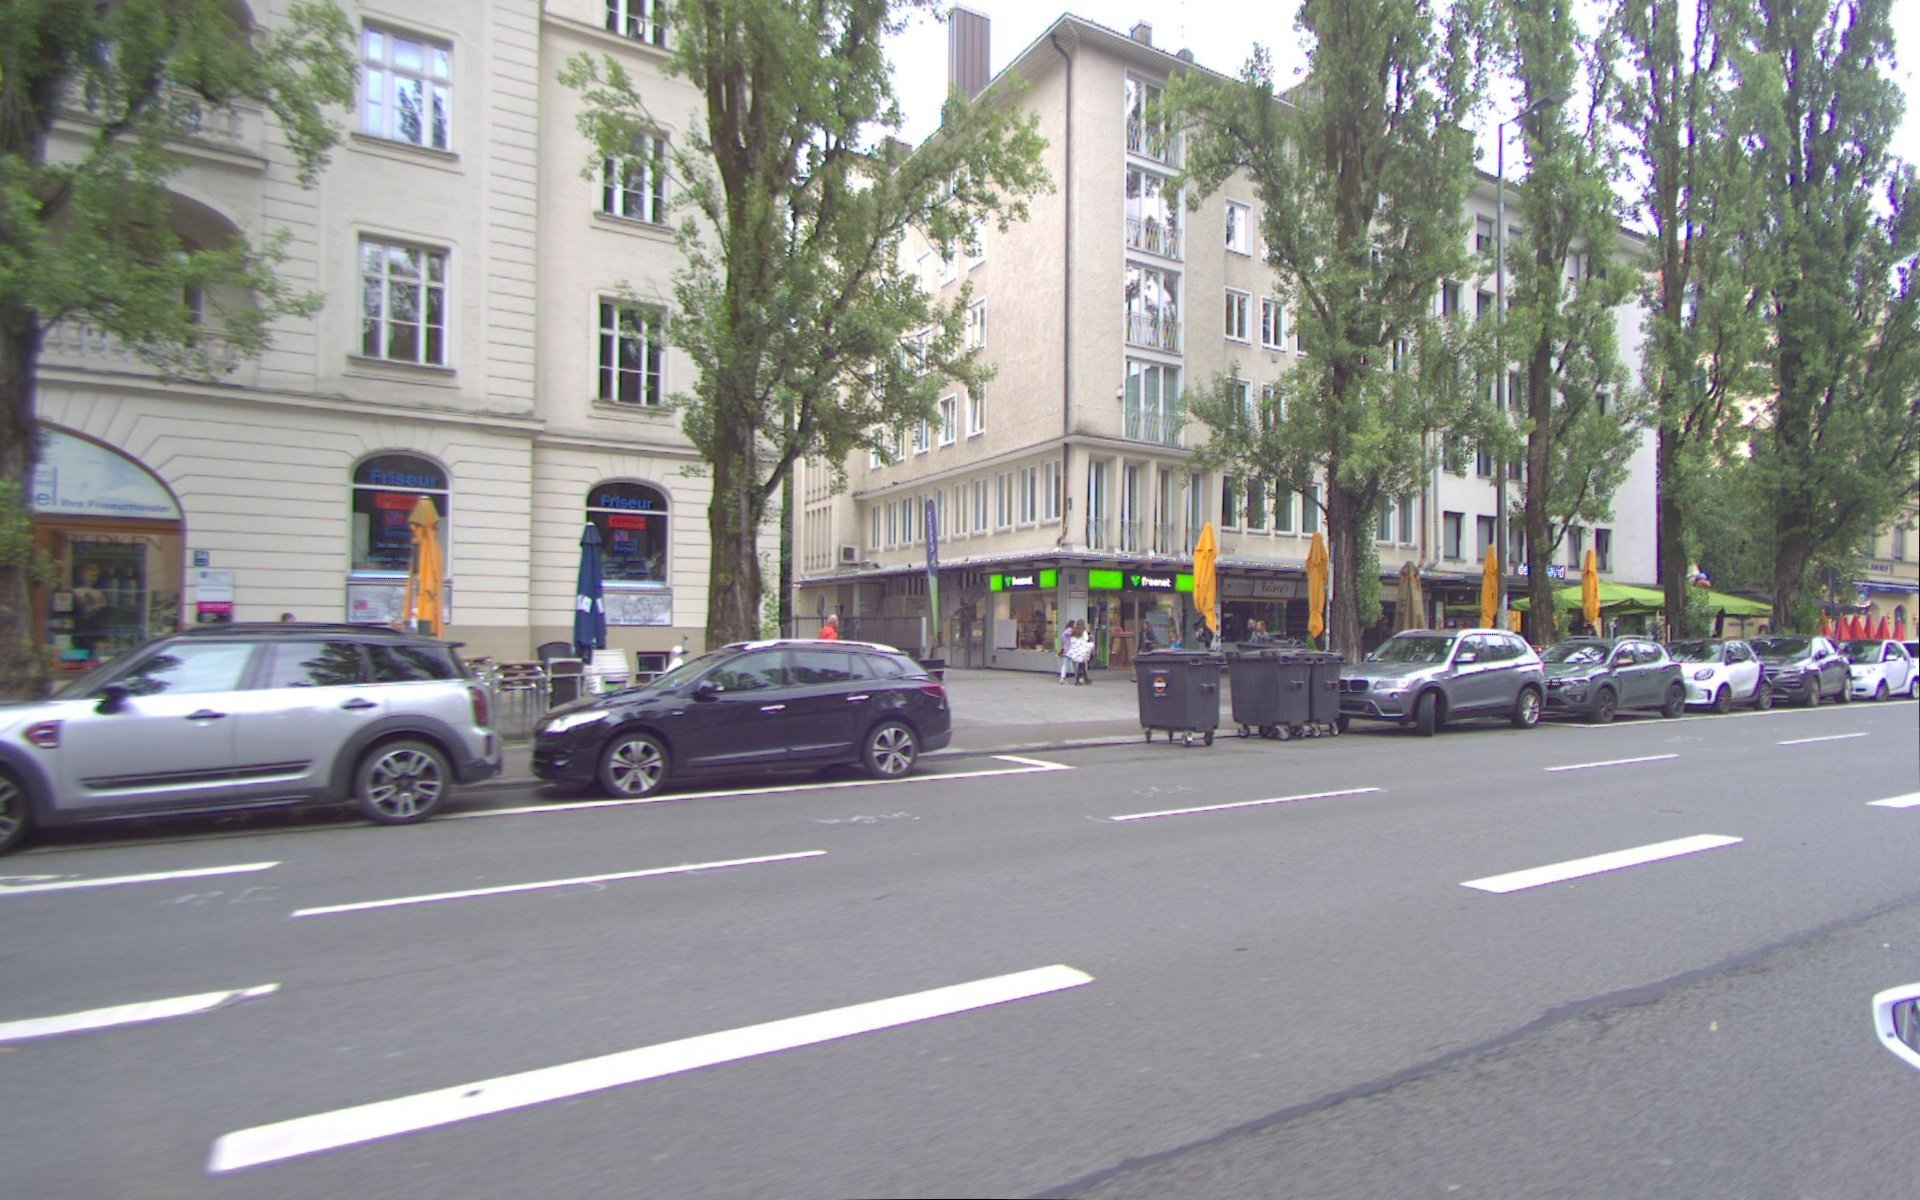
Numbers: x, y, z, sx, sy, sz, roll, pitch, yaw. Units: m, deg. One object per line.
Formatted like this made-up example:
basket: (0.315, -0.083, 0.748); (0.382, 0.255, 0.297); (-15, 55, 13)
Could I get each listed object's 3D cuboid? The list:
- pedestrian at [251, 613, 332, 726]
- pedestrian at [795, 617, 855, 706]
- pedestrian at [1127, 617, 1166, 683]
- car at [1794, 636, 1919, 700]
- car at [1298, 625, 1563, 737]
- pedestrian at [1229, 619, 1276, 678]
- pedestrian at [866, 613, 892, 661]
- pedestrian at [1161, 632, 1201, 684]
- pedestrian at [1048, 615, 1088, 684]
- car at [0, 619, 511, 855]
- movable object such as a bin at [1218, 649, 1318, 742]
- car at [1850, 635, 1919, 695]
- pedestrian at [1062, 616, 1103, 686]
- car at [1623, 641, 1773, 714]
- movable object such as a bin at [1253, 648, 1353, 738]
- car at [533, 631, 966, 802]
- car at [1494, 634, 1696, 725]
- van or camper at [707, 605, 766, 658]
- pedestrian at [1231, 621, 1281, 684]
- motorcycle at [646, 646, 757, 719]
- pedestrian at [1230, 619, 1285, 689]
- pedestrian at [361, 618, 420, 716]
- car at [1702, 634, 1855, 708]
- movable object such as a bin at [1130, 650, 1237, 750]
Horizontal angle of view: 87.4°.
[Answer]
pedestrian: (-9.710, 0.985, 14.598); (0.674, 1.558, 0.786); (1, 0, 39)
pedestrian: (-2.660, 1.193, 19.799); (0.941, 1.695, 0.730); (2, 0, -30)
pedestrian: (4.965, 1.322, 26.750); (0.818, 1.744, 0.622); (1, -2, -32)
car: (23.192, 1.726, 25.955); (2.886, 1.554, 1.567); (1, -2, -28)
car: (8.046, 1.330, 17.069); (4.564, 1.676, 1.856); (2, -4, -32)
pedestrian: (8.936, 1.471, 30.689); (1.134, 1.768, 0.848); (1, -1, -30)
pedestrian: (-2.960, 1.359, 36.775); (0.752, 1.716, 0.623); (1, -2, -28)
pedestrian: (5.830, 1.525, 26.511); (0.818, 1.342, 0.622); (1, -2, -32)
pedestrian: (2.774, 1.270, 25.898); (0.817, 1.744, 0.622); (1, -2, -31)
car: (-5.979, 0.994, 8.178); (4.084, 1.596, 1.774); (1, -3, -31)
movable object such as a bin: (4.736, 1.441, 15.489); (0.816, 1.334, 1.253); (1, -2, -31)
car: (26.612, 1.778, 27.894); (4.042, 1.567, 1.825); (1, -2, -32)
pedestrian: (3.091, 1.273, 25.287); (0.817, 1.744, 0.622); (1, -2, -31)
car: (15.946, 1.627, 21.696); (2.950, 1.447, 1.623); (1, -2, -32)
movable object such as a bin: (5.430, 1.440, 15.968); (0.810, 1.334, 1.307); (1, -2, -31)
car: (-2.182, 1.134, 10.773); (4.261, 1.524, 1.656); (1, -4, -30)
car: (12.221, 1.460, 19.271); (4.036, 1.571, 1.689); (1, -2, -32)
van or camper: (-11.055, 1.538, 49.464); (1.972, 2.457, 4.850); (1, -1, -23)
pedestrian: (8.517, 1.490, 28.889); (1.134, 1.767, 0.848); (1, -1, -30)
motorcycle: (-4.319, 1.353, 16.886); (1.802, 1.154, 0.471); (2, -2, -44)
pedestrian: (7.777, 1.394, 26.254); (1.134, 1.767, 0.848); (1, -1, -30)
pedestrian: (-9.435, 1.085, 16.642); (0.795, 1.558, 0.765); (2, 0, -30)
car: (19.418, 1.618, 23.783); (4.139, 1.586, 1.828); (2, -2, -36)
movable object such as a bin: (3.176, 1.390, 14.346); (0.891, 1.327, 1.271); (1, -2, -30)
